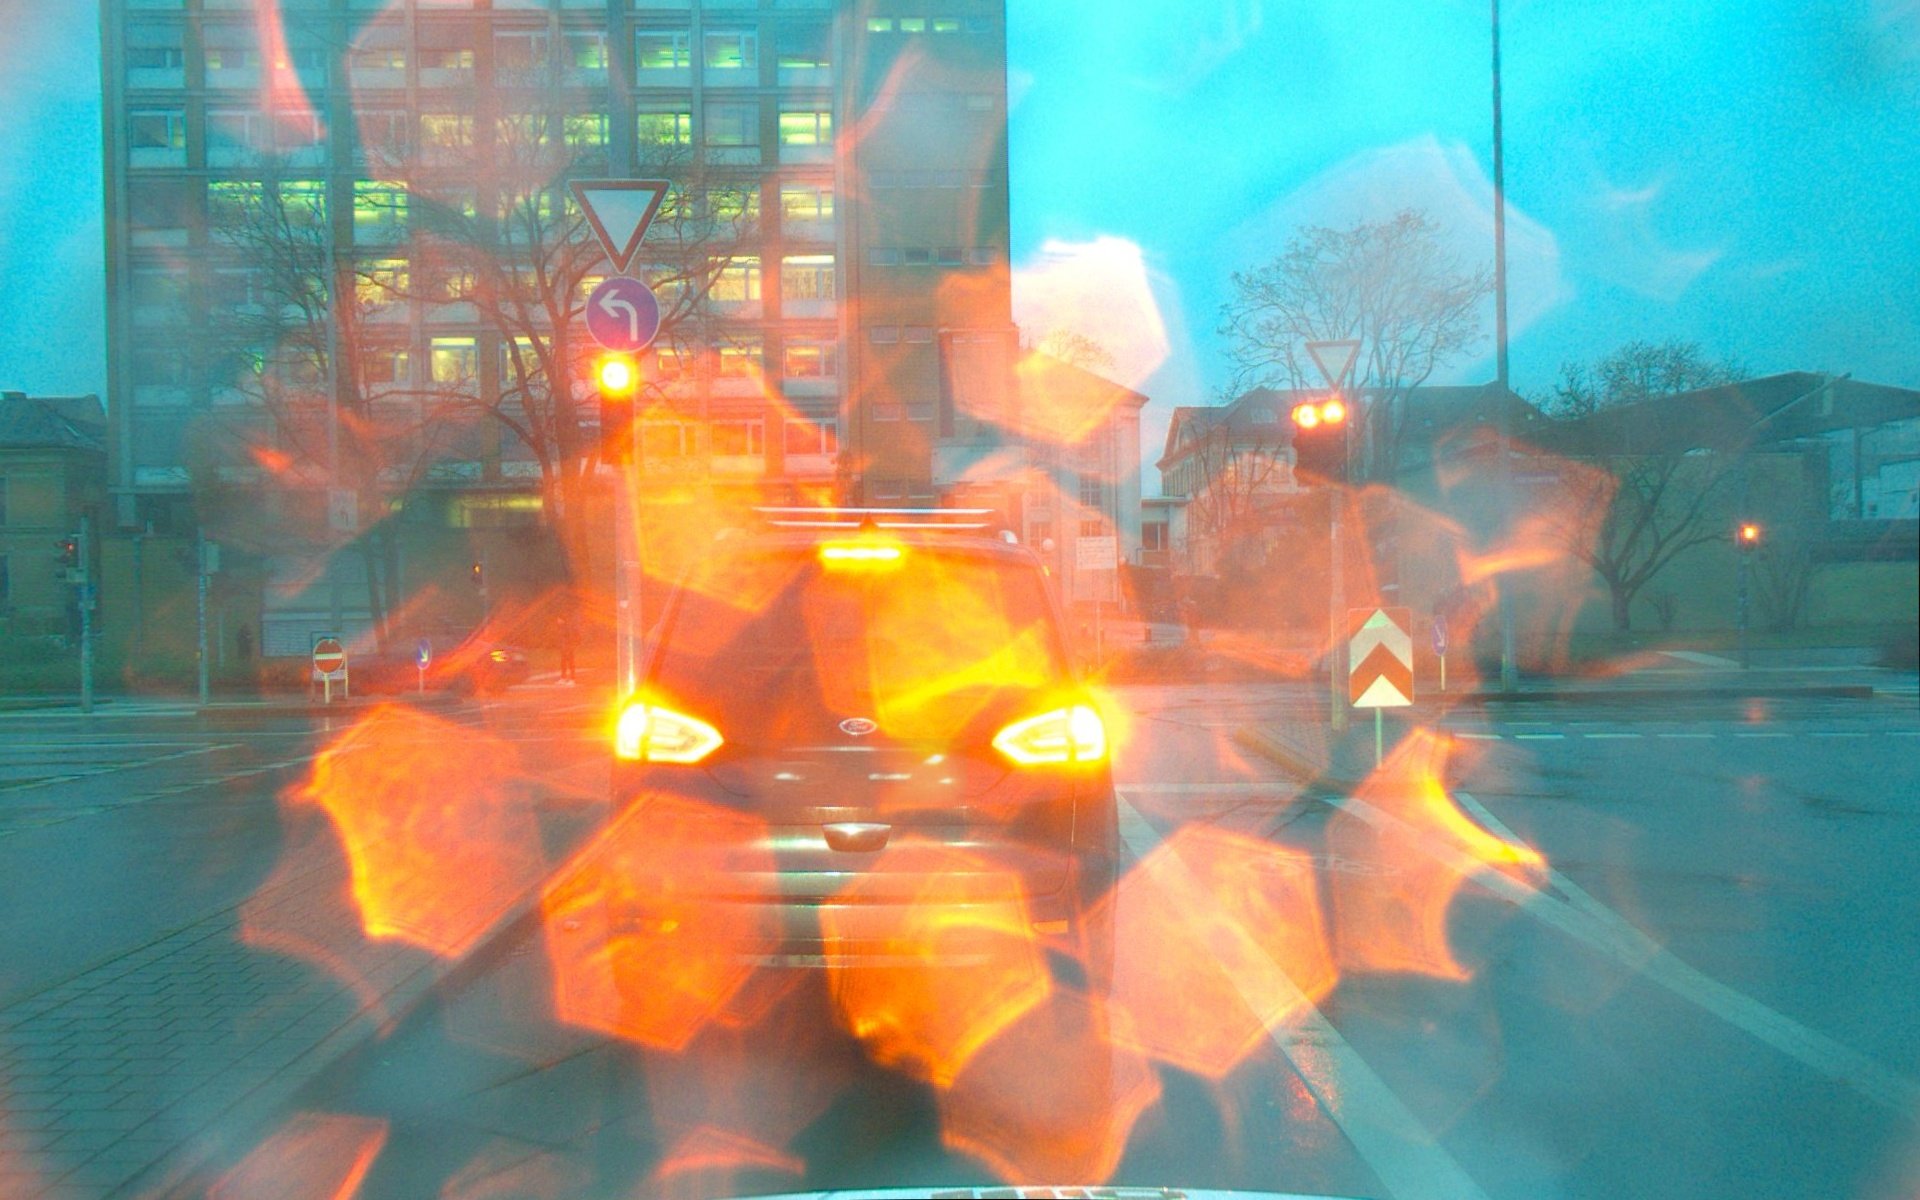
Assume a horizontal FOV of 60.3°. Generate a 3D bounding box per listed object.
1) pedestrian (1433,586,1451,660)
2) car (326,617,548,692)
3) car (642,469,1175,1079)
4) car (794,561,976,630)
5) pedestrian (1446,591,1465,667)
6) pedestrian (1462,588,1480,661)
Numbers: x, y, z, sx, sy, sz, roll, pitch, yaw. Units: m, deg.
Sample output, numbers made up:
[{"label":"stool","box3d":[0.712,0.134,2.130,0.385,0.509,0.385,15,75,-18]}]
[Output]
[{"label":"pedestrian","box3d":[12.368,0.589,42.444,0.428,1.871,0.460,0,-2,17]},{"label":"car","box3d":[-11.769,1.214,37.327,4.338,1.608,1.969,0,-2,12]},{"label":"car","box3d":[-0.184,0.517,7.039,1.613,1.850,3.999,0,0,-1]},{"label":"car","box3d":[-2.294,-0.121,51.416,5.429,2.060,2.001,0,-2,5]},{"label":"pedestrian","box3d":[12.400,0.728,41.416,0.448,1.871,0.439,0,-2,16]},{"label":"pedestrian","box3d":[13.129,0.633,42.487,0.428,1.871,0.460,0,-2,18]}]
